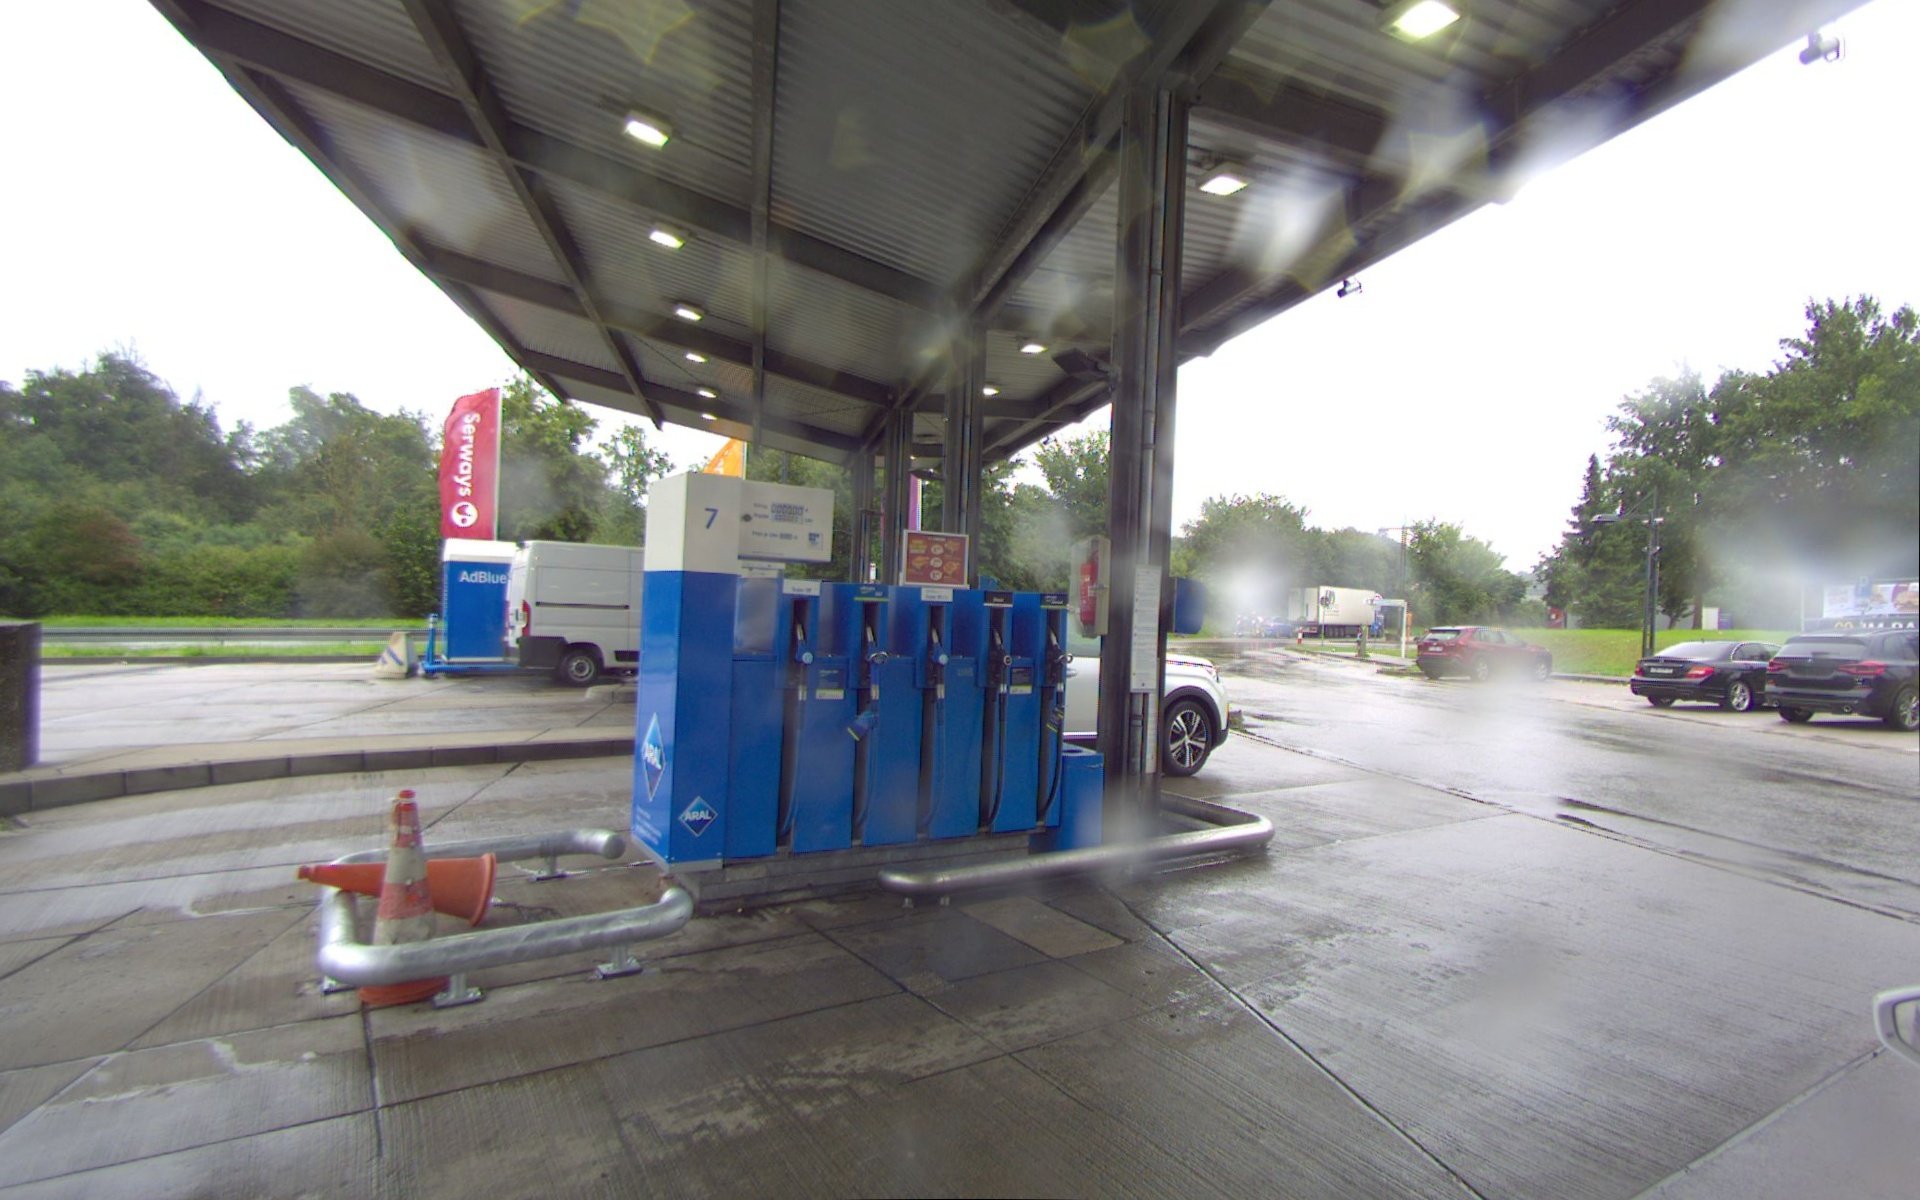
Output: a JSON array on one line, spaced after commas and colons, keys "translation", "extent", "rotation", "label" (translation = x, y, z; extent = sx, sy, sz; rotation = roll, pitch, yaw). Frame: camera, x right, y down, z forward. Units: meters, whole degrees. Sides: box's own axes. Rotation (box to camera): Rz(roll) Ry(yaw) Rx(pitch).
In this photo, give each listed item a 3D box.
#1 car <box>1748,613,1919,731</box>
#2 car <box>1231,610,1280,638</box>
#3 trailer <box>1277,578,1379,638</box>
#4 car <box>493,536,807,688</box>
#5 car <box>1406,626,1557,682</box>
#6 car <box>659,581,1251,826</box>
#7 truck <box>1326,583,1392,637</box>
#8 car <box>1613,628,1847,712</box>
[{"translation": [16.154, 1.183, 17.409], "extent": [4.344, 1.852, 1.883], "rotation": [1, -1, -19], "label": "car"}, {"translation": [20.846, 1.692, 70.754], "extent": [1.903, 1.862, 4.373], "rotation": [1, 0, 38], "label": "car"}, {"translation": [30.917, 0.735, 83.861], "extent": [3.416, 4.618, 13.847], "rotation": [2, 0, 40], "label": "trailer"}, {"translation": [-5.761, 0.259, 18.947], "extent": [5.227, 2.496, 2.306], "rotation": [1, -1, -34], "label": "car"}, {"translation": [16.036, 1.636, 30.901], "extent": [4.294, 1.617, 1.879], "rotation": [1, -1, -24], "label": "car"}, {"translation": [0.151, 0.716, 8.660], "extent": [4.953, 1.586, 1.802], "rotation": [1, 0, -35], "label": "car"}, {"translation": [35.590, 0.905, 89.464], "extent": [3.416, 4.618, 6.704], "rotation": [2, 0, 40], "label": "truck"}, {"translation": [15.941, 1.411, 20.829], "extent": [4.119, 1.585, 1.883], "rotation": [1, -1, -19], "label": "car"}]
